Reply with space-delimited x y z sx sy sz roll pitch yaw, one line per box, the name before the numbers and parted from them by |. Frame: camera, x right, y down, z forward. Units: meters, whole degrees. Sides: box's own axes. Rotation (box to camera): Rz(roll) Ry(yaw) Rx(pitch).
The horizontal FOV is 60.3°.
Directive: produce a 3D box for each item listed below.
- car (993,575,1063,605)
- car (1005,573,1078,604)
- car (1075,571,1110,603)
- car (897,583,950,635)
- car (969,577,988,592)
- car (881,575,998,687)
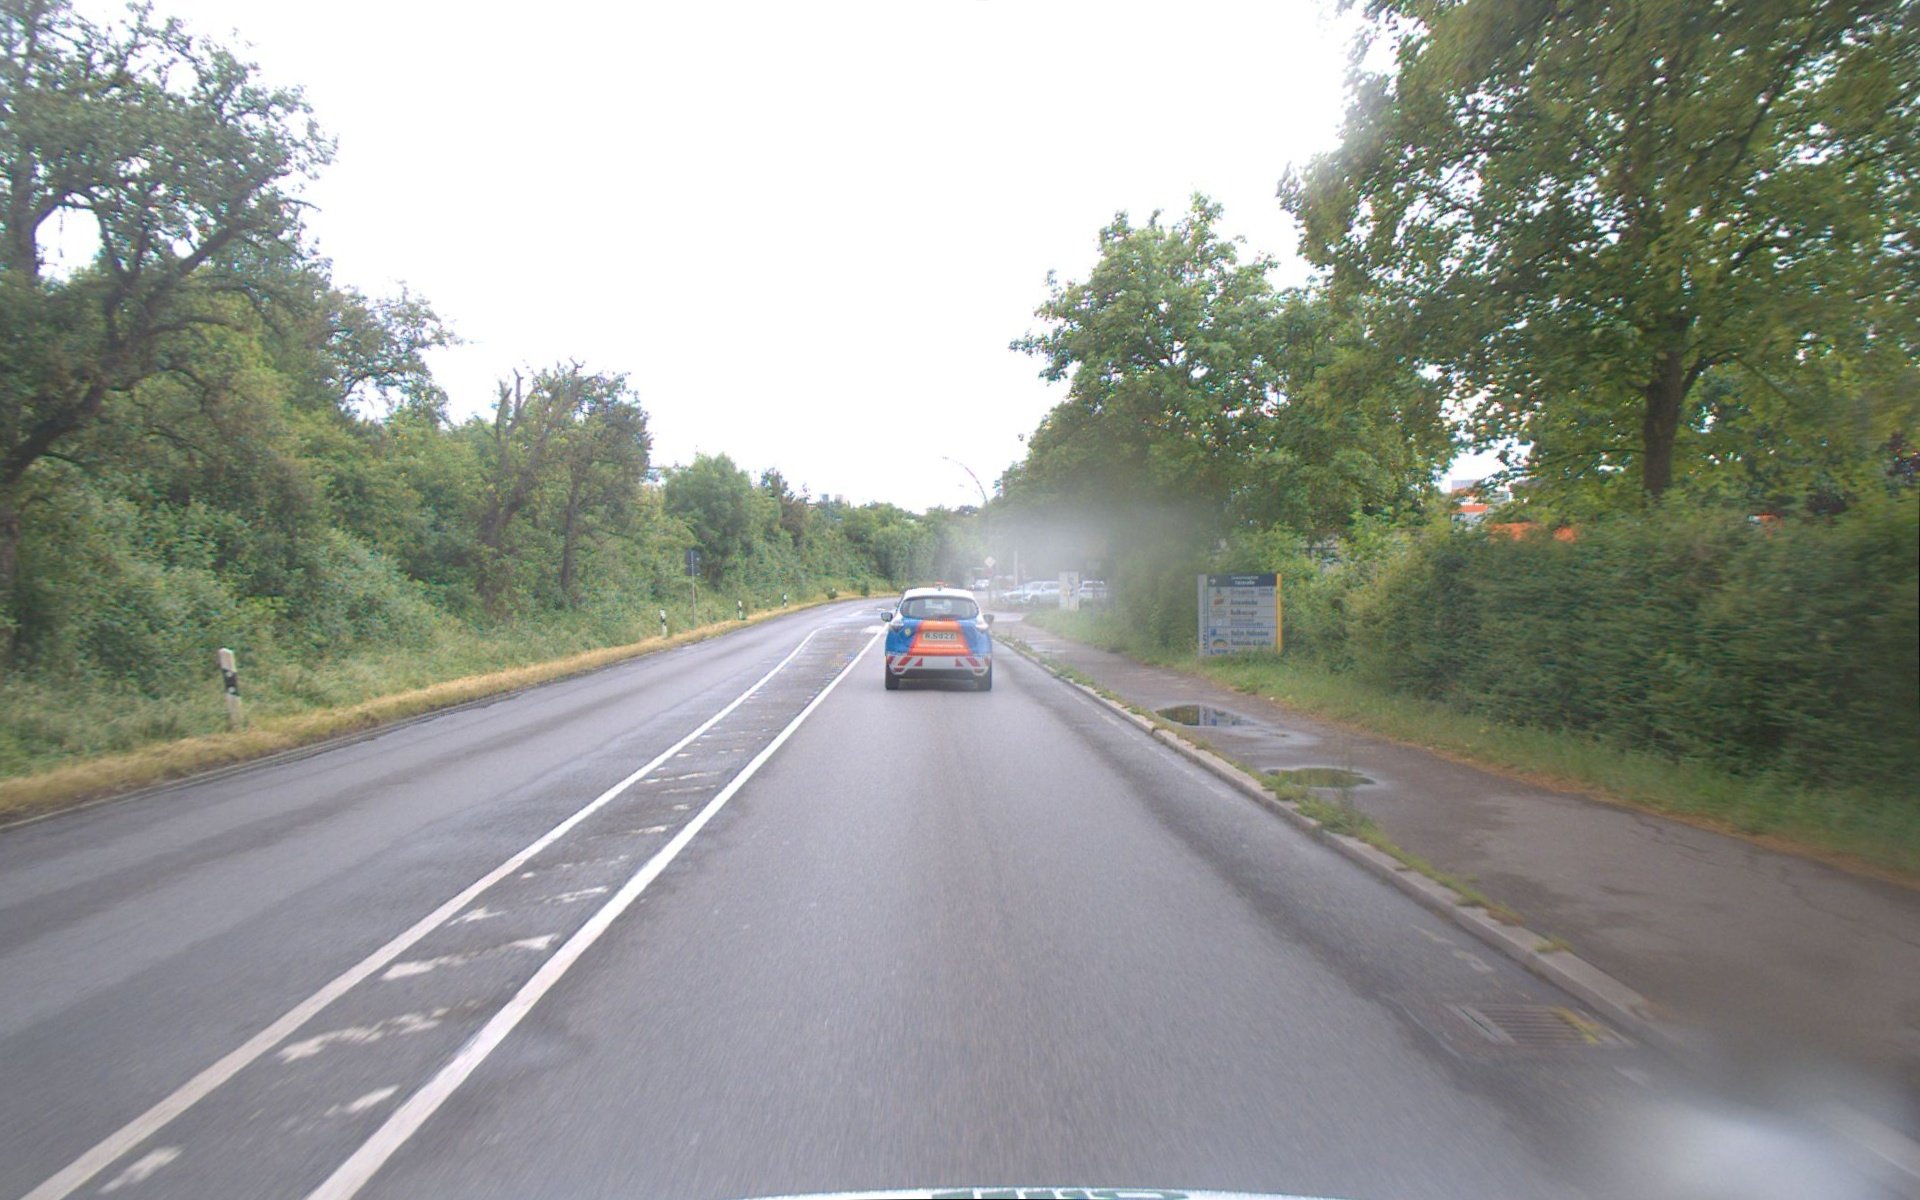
car | 4.359 -0.633 105.464 2.000 1.782 4.587 -1 -2 44
car | 5.061 -0.724 102.518 2.001 1.782 4.587 1 0 44
car | 7.951 -0.751 99.697 1.788 1.861 4.264 2 0 1
car | -1.223 0.298 55.549 1.659 1.623 3.855 2 0 -1
car | 2.427 -1.976 216.272 1.658 1.822 3.859 2 0 11
car | -0.364 0.472 27.076 1.769 1.697 3.854 0 0 -2
